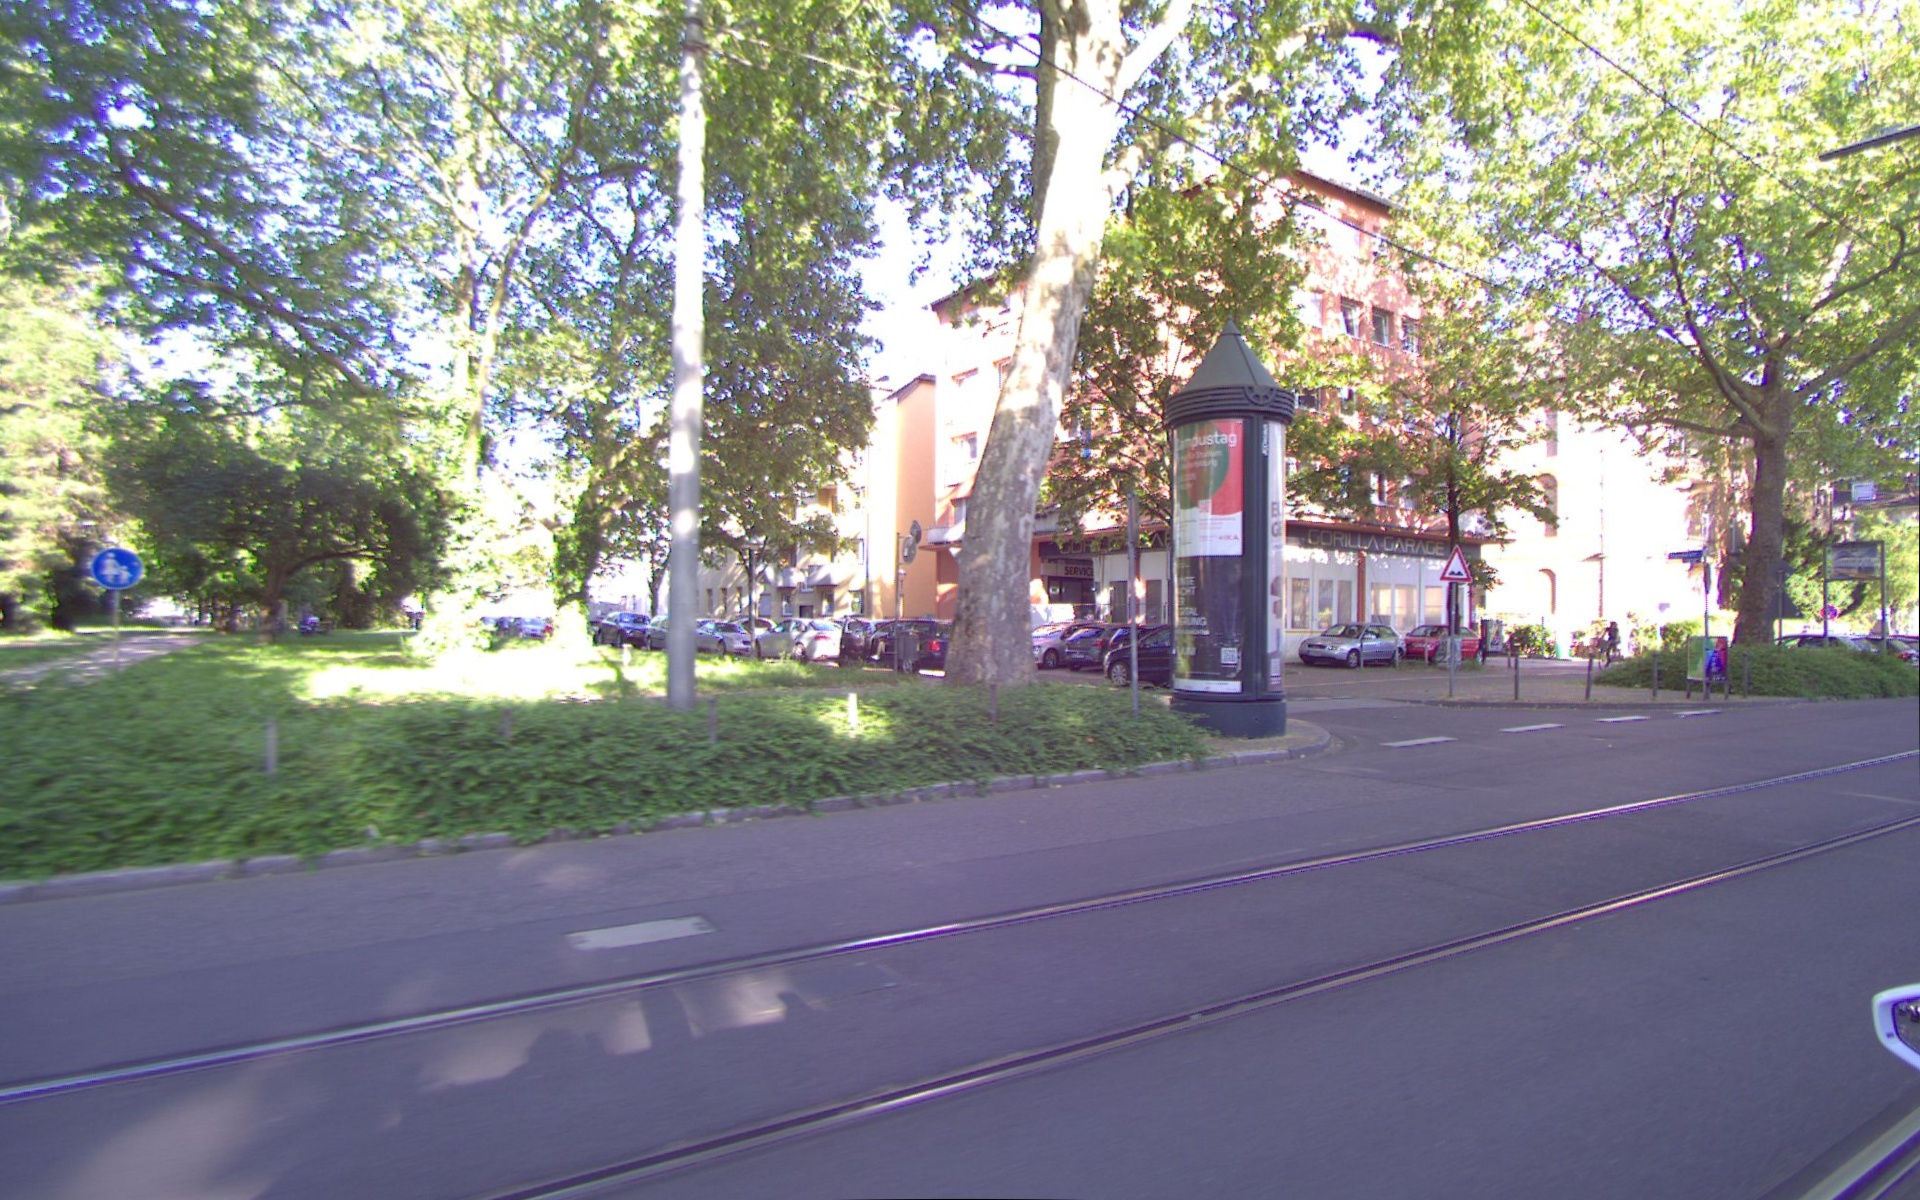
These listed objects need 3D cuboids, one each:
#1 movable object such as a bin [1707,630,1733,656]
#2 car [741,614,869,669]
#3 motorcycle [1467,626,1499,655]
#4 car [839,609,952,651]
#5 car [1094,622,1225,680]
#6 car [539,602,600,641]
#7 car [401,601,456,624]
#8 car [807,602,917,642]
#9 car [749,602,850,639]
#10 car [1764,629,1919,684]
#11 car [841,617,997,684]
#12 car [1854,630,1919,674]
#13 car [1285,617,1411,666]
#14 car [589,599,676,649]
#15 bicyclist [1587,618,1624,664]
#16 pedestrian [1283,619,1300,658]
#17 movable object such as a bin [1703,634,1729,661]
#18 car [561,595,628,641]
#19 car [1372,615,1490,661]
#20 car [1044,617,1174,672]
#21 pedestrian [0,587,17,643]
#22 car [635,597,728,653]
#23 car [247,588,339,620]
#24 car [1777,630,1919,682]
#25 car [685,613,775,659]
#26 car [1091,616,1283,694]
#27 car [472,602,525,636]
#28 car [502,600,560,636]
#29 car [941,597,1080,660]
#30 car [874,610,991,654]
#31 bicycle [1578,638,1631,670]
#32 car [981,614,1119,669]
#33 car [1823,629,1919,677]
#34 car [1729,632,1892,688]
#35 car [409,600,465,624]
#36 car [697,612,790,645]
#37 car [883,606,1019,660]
[{"bbox_3d":[32.865,1.854,43.443,0.554,1.124,0.719,1,0,-32],"label":"movable object such as a bin"},{"bbox_3d":[-4.824,1.235,30.822,1.810,1.469,4.429,2,0,-41],"label":"car"},{"bbox_3d":[24.098,1.845,46.293,1.611,1.306,0.595,2,0,-34],"label":"motorcycle"},{"bbox_3d":[-2.639,1.245,41.868,4.448,1.639,1.927,2,0,-41],"label":"car"},{"bbox_3d":[5.886,1.454,29.416,3.972,1.513,1.795,2,-1,-44],"label":"car"},{"bbox_3d":[-21.635,1.165,55.557,1.981,2.040,4.697,2,0,-36],"label":"car"},{"bbox_3d":[-54.590,1.286,103.190,4.705,2.274,1.978,2,0,-39],"label":"car"},{"bbox_3d":[-4.238,0.950,43.792,4.448,1.639,1.927,2,0,-41],"label":"car"},{"bbox_3d":[-7.671,0.999,48.257,4.448,1.639,1.927,2,0,-41],"label":"car"},{"bbox_3d":[27.569,1.716,31.284,1.667,1.484,3.583,2,0,-31],"label":"car"},{"bbox_3d":[-1.173,1.268,26.523,1.844,1.509,4.491,2,0,-38],"label":"car"},{"bbox_3d":[34.433,1.860,35.450,1.834,1.484,3.963,2,0,-33],"label":"car"},{"bbox_3d":[12.547,1.326,32.448,3.851,1.426,1.936,2,0,-33],"label":"car"},{"bbox_3d":[-14.450,1.030,44.194,1.985,2.040,4.688,2,0,-41],"label":"car"},{"bbox_3d":[21.995,1.393,34.228,1.109,1.527,0.792,2,0,-44],"label":"bicyclist"},{"bbox_3d":[15.451,1.795,46.805,0.515,1.801,0.536,1,0,-34],"label":"pedestrian"},{"bbox_3d":[32.437,2.044,43.082,0.537,1.124,0.720,1,0,-31],"label":"movable object such as a bin"},{"bbox_3d":[-18.725,0.874,51.349,2.024,2.227,4.697,2,0,-36],"label":"car"},{"bbox_3d":[16.504,1.327,35.173,3.957,1.507,1.936,2,0,-33],"label":"car"},{"bbox_3d":[4.661,1.351,31.212,3.972,1.546,1.974,2,-1,-44],"label":"car"},{"bbox_3d":[-29.257,0.443,30.412,0.700,1.695,0.776,1,0,-17],"label":"pedestrian"},{"bbox_3d":[-10.944,0.960,39.350,1.985,2.040,3.952,2,0,-41],"label":"car"},{"bbox_3d":[-37.155,0.230,56.101,4.055,1.639,1.883,2,0,-29],"label":"car"},{"bbox_3d":[29.871,1.816,33.202,1.800,1.484,4.062,2,0,-31],"label":"car"},{"bbox_3d":[-8.138,1.230,35.389,1.674,1.469,3.679,2,0,-38],"label":"car"},{"bbox_3d":[4.922,1.144,22.249,1.728,1.468,3.956,1,0,-38],"label":"car"},{"bbox_3d":[-30.095,1.207,65.444,1.984,2.040,4.691,2,0,-39],"label":"car"},{"bbox_3d":[-26.166,1.096,61.178,1.984,2.040,4.691,2,0,-39],"label":"car"},{"bbox_3d":[1.831,0.997,35.081,4.885,2.030,1.975,2,0,-43],"label":"car"},{"bbox_3d":[-1.043,1.269,39.916,4.448,1.639,1.927,2,0,-41],"label":"car"},{"bbox_3d":[21.963,1.816,34.207,2.565,1.012,0.958,2,0,-44],"label":"bicycle"},{"bbox_3d":[2.996,1.327,32.854,4.525,1.639,1.975,2,-1,-43],"label":"car"},{"bbox_3d":[31.880,1.805,34.217,1.739,1.484,3.402,2,0,-31],"label":"car"},{"bbox_3d":[25.579,1.758,30.323,1.677,1.484,3.402,2,0,-31],"label":"car"},{"bbox_3d":[-52.841,1.230,101.475,4.705,2.274,1.978,2,0,-39],"label":"car"},{"bbox_3d":[-11.399,1.516,53.032,4.448,1.639,1.927,2,0,-41],"label":"car"},{"bbox_3d":[-0.281,1.228,37.586,4.875,1.869,1.979,2,0,-37],"label":"car"}]
